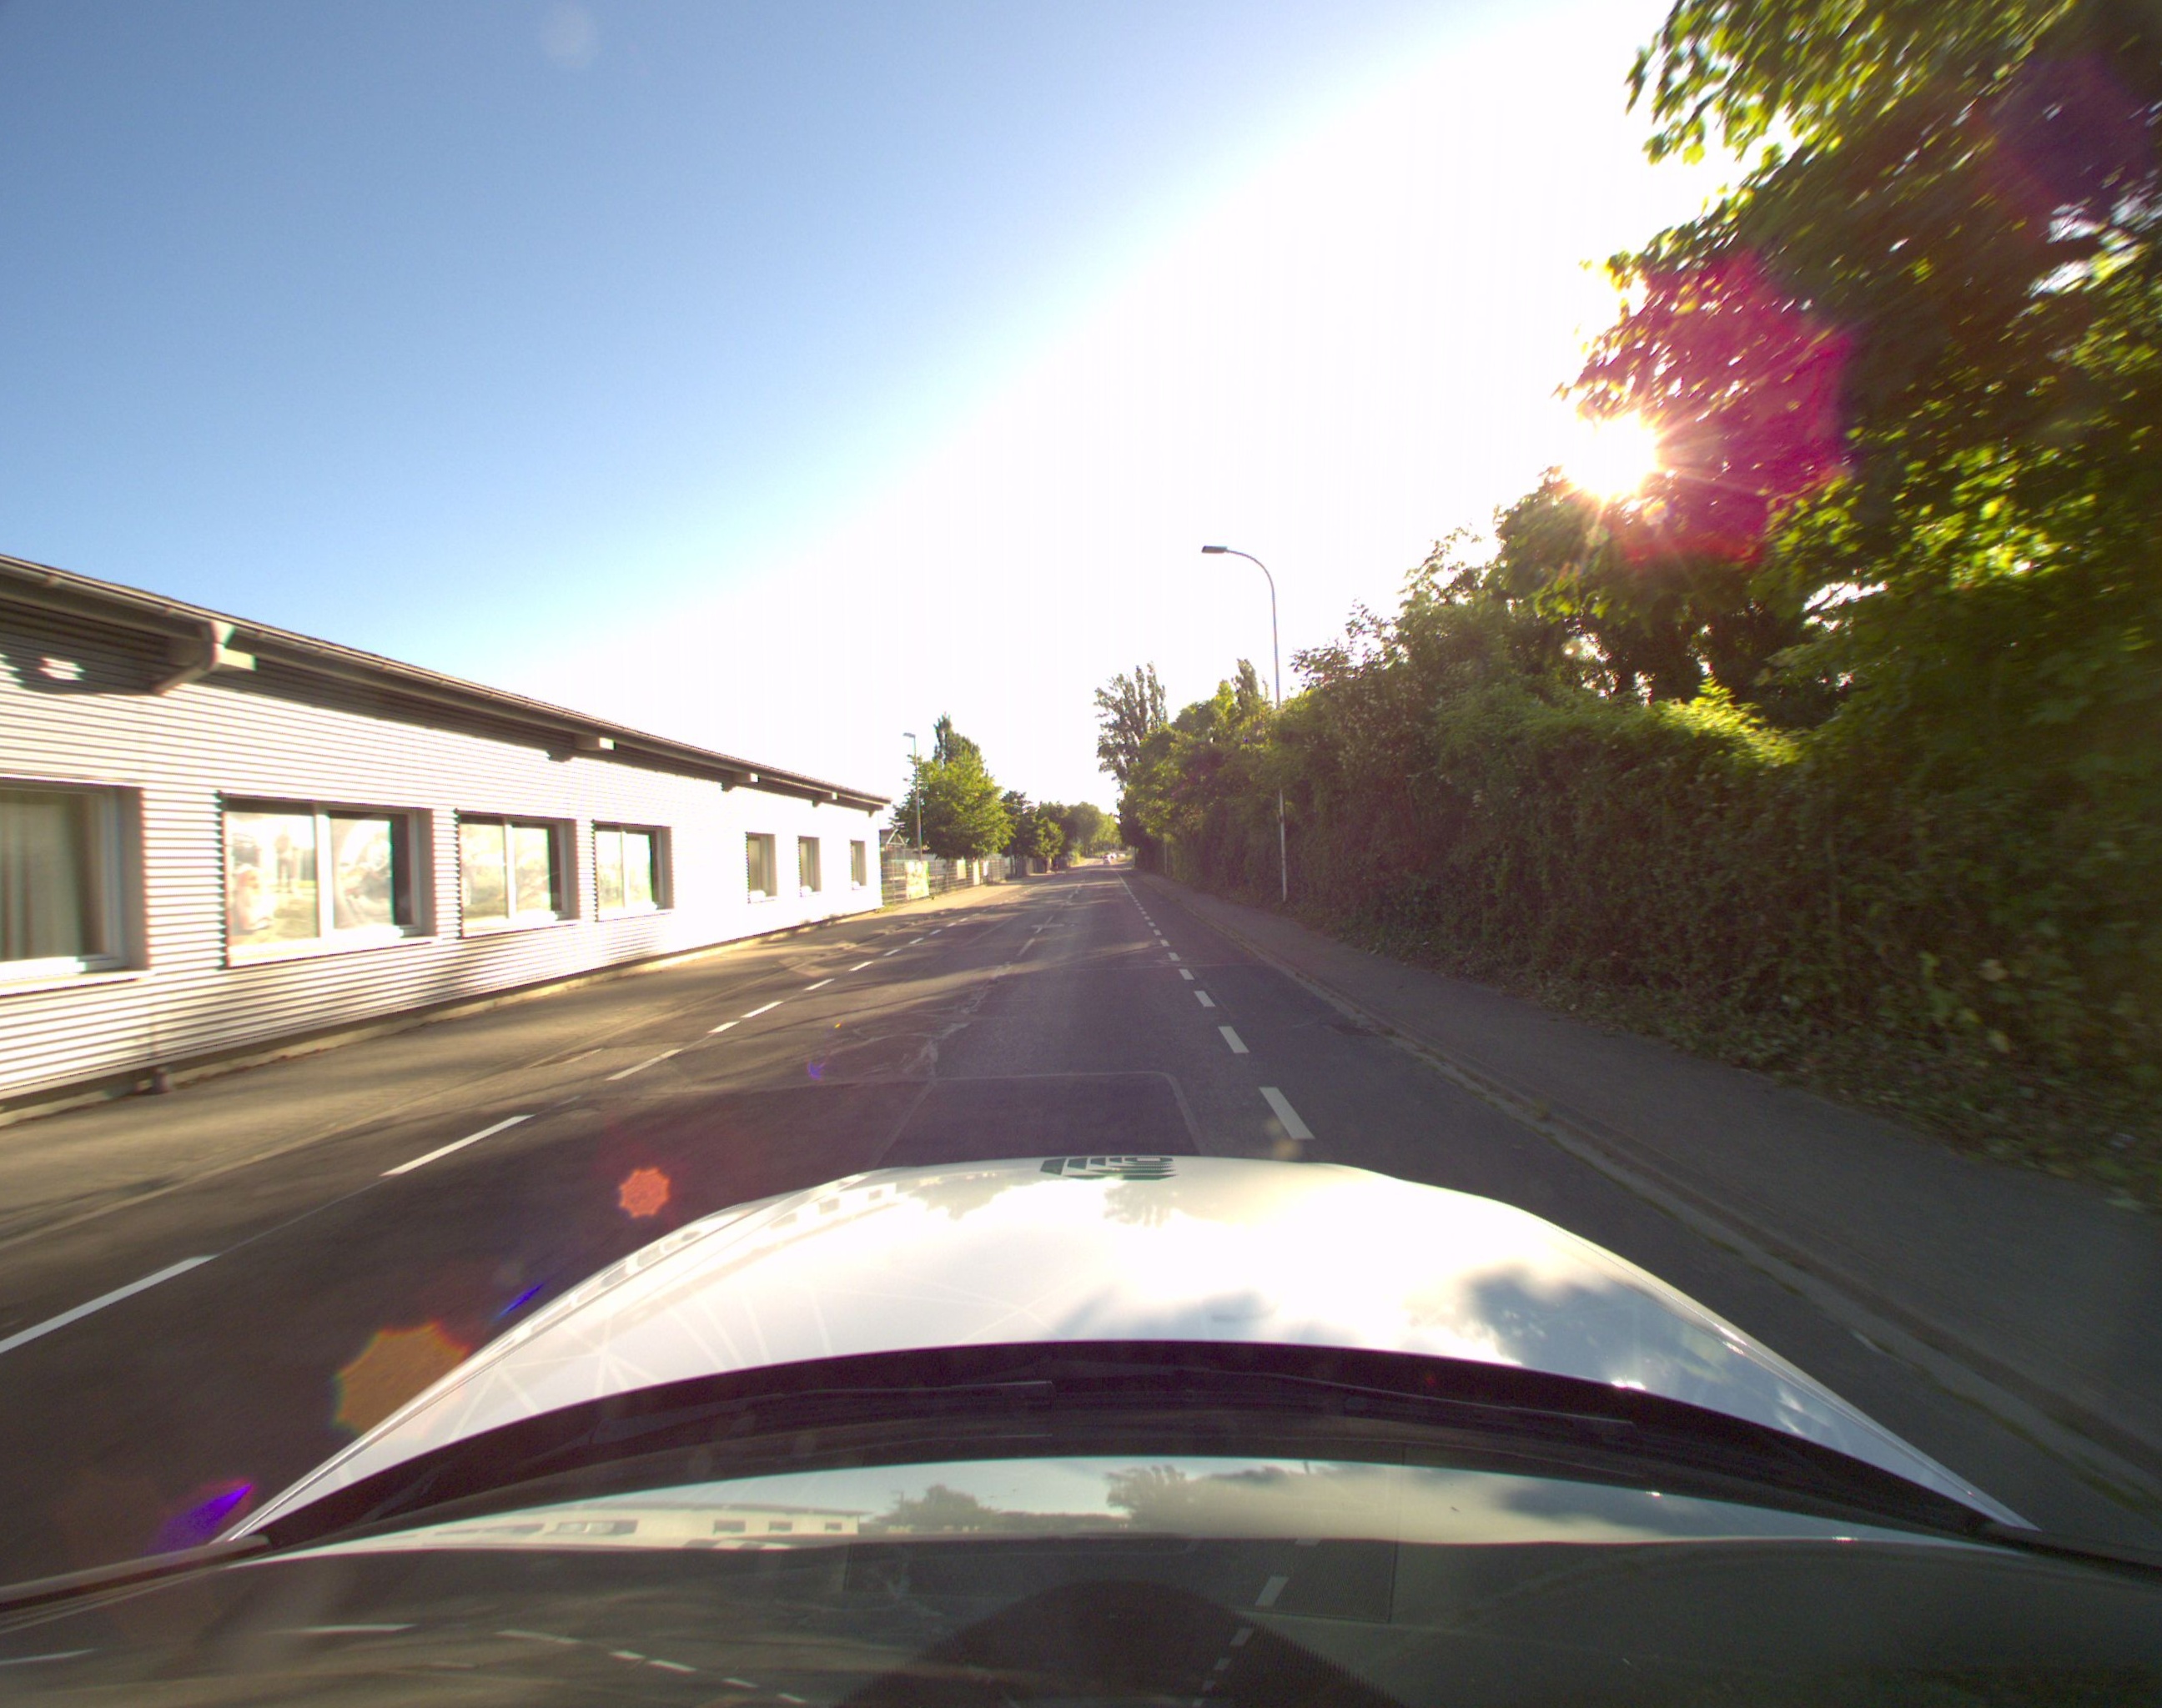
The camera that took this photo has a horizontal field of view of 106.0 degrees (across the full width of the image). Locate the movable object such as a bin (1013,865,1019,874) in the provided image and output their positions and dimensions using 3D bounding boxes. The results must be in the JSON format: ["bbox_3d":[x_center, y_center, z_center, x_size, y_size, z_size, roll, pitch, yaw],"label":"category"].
[{"bbox_3d":[-7.859,1.835,98.226,0.461,1.076,1.570,-3,0,2],"label":"movable object such as a bin"}]

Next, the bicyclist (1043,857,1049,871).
[{"bbox_3d":[-4.092,1.178,95.796,0.558,1.534,0.689,-2,0,1],"label":"bicyclist"}]

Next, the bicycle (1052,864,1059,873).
[{"bbox_3d":[-2.981,1.696,95.004,0.686,1.034,1.351,-2,0,2],"label":"bicycle"}]

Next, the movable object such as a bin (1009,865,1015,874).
[{"bbox_3d":[-8.365,1.873,98.414,0.461,1.076,1.570,-3,0,2],"label":"movable object such as a bin"}]

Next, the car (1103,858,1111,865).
[{"bbox_3d":[6.837,1.967,213.674,1.935,1.651,4.311,-2,0,2],"label":"car"}]

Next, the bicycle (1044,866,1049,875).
[{"bbox_3d":[-4.064,1.907,95.871,0.561,1.034,1.351,-2,0,2],"label":"bicycle"}]

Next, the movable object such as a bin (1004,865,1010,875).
[{"bbox_3d":[-8.908,1.908,98.359,0.461,1.076,1.570,-3,0,2],"label":"movable object such as a bin"}]

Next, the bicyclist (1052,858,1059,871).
[{"bbox_3d":[-2.974,1.191,94.967,0.687,1.532,0.722,-2,0,1],"label":"bicyclist"}]
